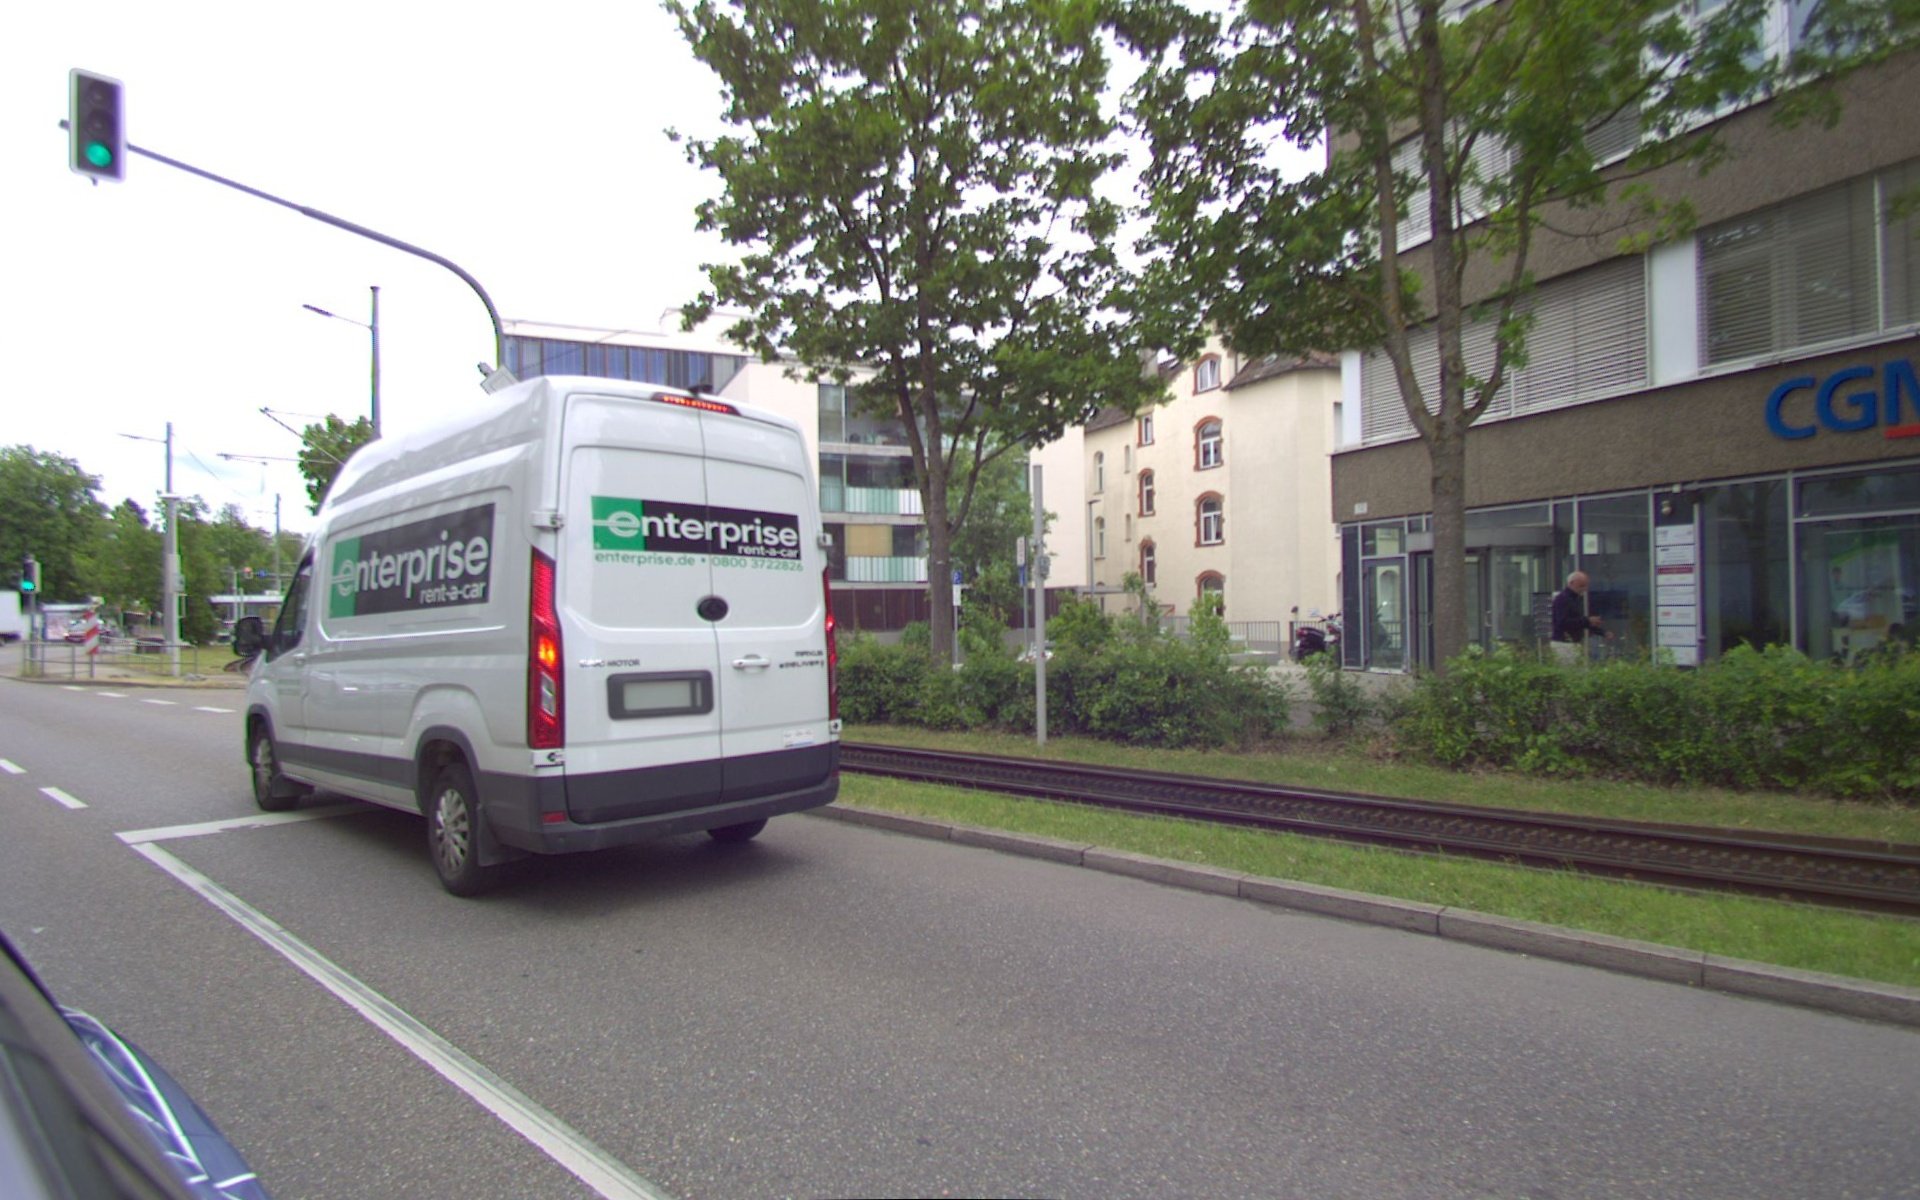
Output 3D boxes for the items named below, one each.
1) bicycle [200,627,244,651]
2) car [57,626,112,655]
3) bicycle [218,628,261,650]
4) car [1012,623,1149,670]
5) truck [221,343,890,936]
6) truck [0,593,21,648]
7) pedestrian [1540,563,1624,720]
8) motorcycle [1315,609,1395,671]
[{"bbox_3d":[-36.023,1.906,49.422,1.682,1.097,0.409,-2,0,-37],"label":"bicycle"},{"bbox_3d":[-58.217,2.660,67.351,1.819,1.875,4.271,0,-1,-28],"label":"car"},{"bbox_3d":[-36.383,1.965,51.115,1.724,1.054,0.409,-2,0,-22],"label":"bicycle"},{"bbox_3d":[3.707,1.423,30.984,3.931,1.369,1.647,2,-2,-28],"label":"car"},{"bbox_3d":[-3.288,0.236,7.257,5.795,2.635,2.142,-2,-2,42],"label":"truck"},{"bbox_3d":[-60.713,1.282,61.824,2.499,3.452,7.801,0,0,-24],"label":"truck"},{"bbox_3d":[7.129,0.465,11.595,0.683,1.718,0.680,-1,-3,43],"label":"pedestrian"},{"bbox_3d":[7.956,0.783,20.356,1.854,1.208,0.569,0,-1,-36],"label":"motorcycle"}]
